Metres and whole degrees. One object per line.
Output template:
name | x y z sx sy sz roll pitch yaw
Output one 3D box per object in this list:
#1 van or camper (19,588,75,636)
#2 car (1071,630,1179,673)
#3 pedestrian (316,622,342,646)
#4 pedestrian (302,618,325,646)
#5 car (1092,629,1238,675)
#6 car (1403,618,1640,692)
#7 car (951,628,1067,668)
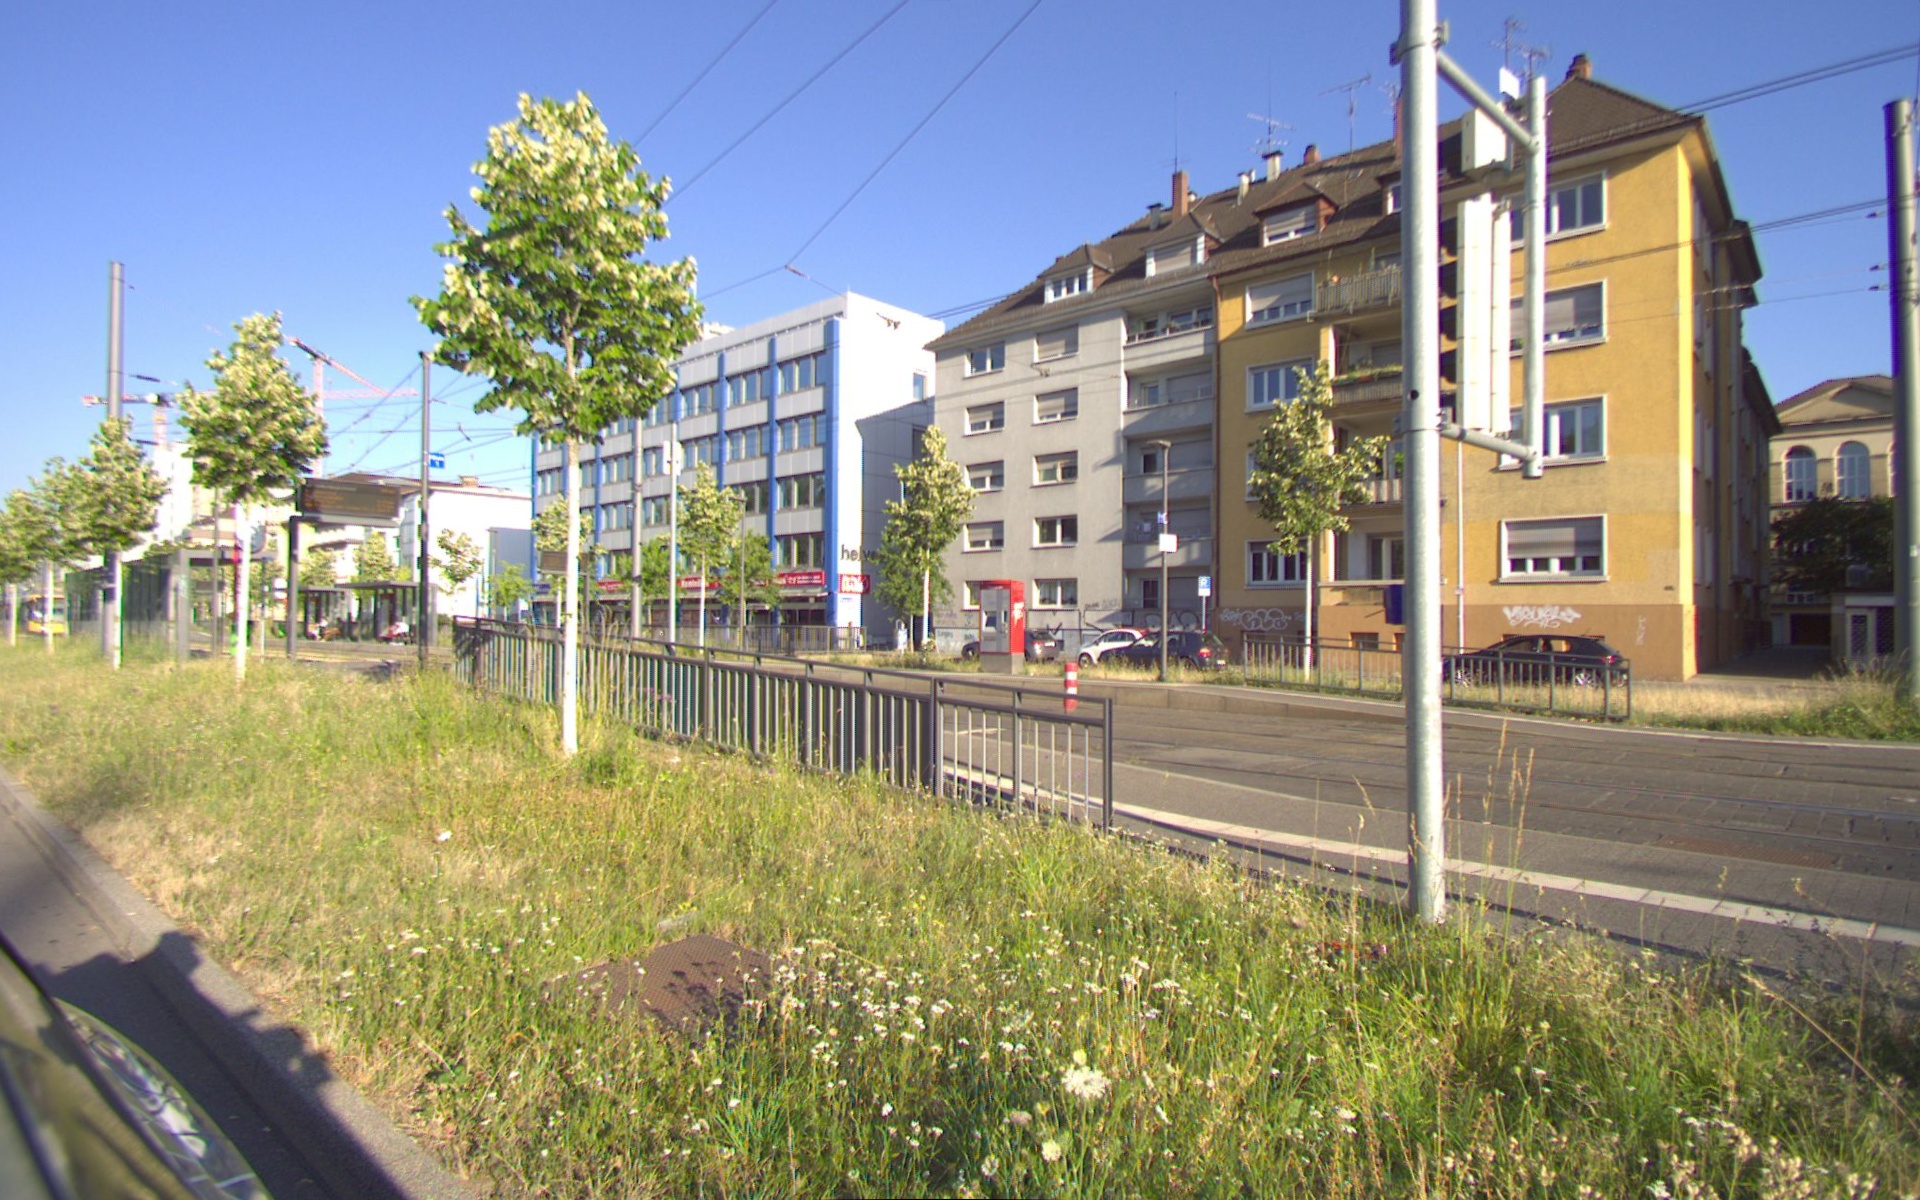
van or camper | -63.513 0.866 70.323 7.479 3.192 2.476 -1 -2 45
car | 6.019 1.854 37.151 3.551 1.497 1.729 -1 -2 41
pedestrian | -31.772 1.704 50.946 0.764 1.206 0.924 -1 -2 41
pedestrian | -33.663 1.668 52.691 0.803 1.421 0.829 -1 -2 41
car | 6.237 1.561 30.968 3.995 1.298 1.823 -1 -2 39
car | 13.393 1.252 24.288 4.771 1.608 1.975 -1 -2 37
car | 1.943 1.884 40.906 4.429 1.519 1.973 -1 -2 41
